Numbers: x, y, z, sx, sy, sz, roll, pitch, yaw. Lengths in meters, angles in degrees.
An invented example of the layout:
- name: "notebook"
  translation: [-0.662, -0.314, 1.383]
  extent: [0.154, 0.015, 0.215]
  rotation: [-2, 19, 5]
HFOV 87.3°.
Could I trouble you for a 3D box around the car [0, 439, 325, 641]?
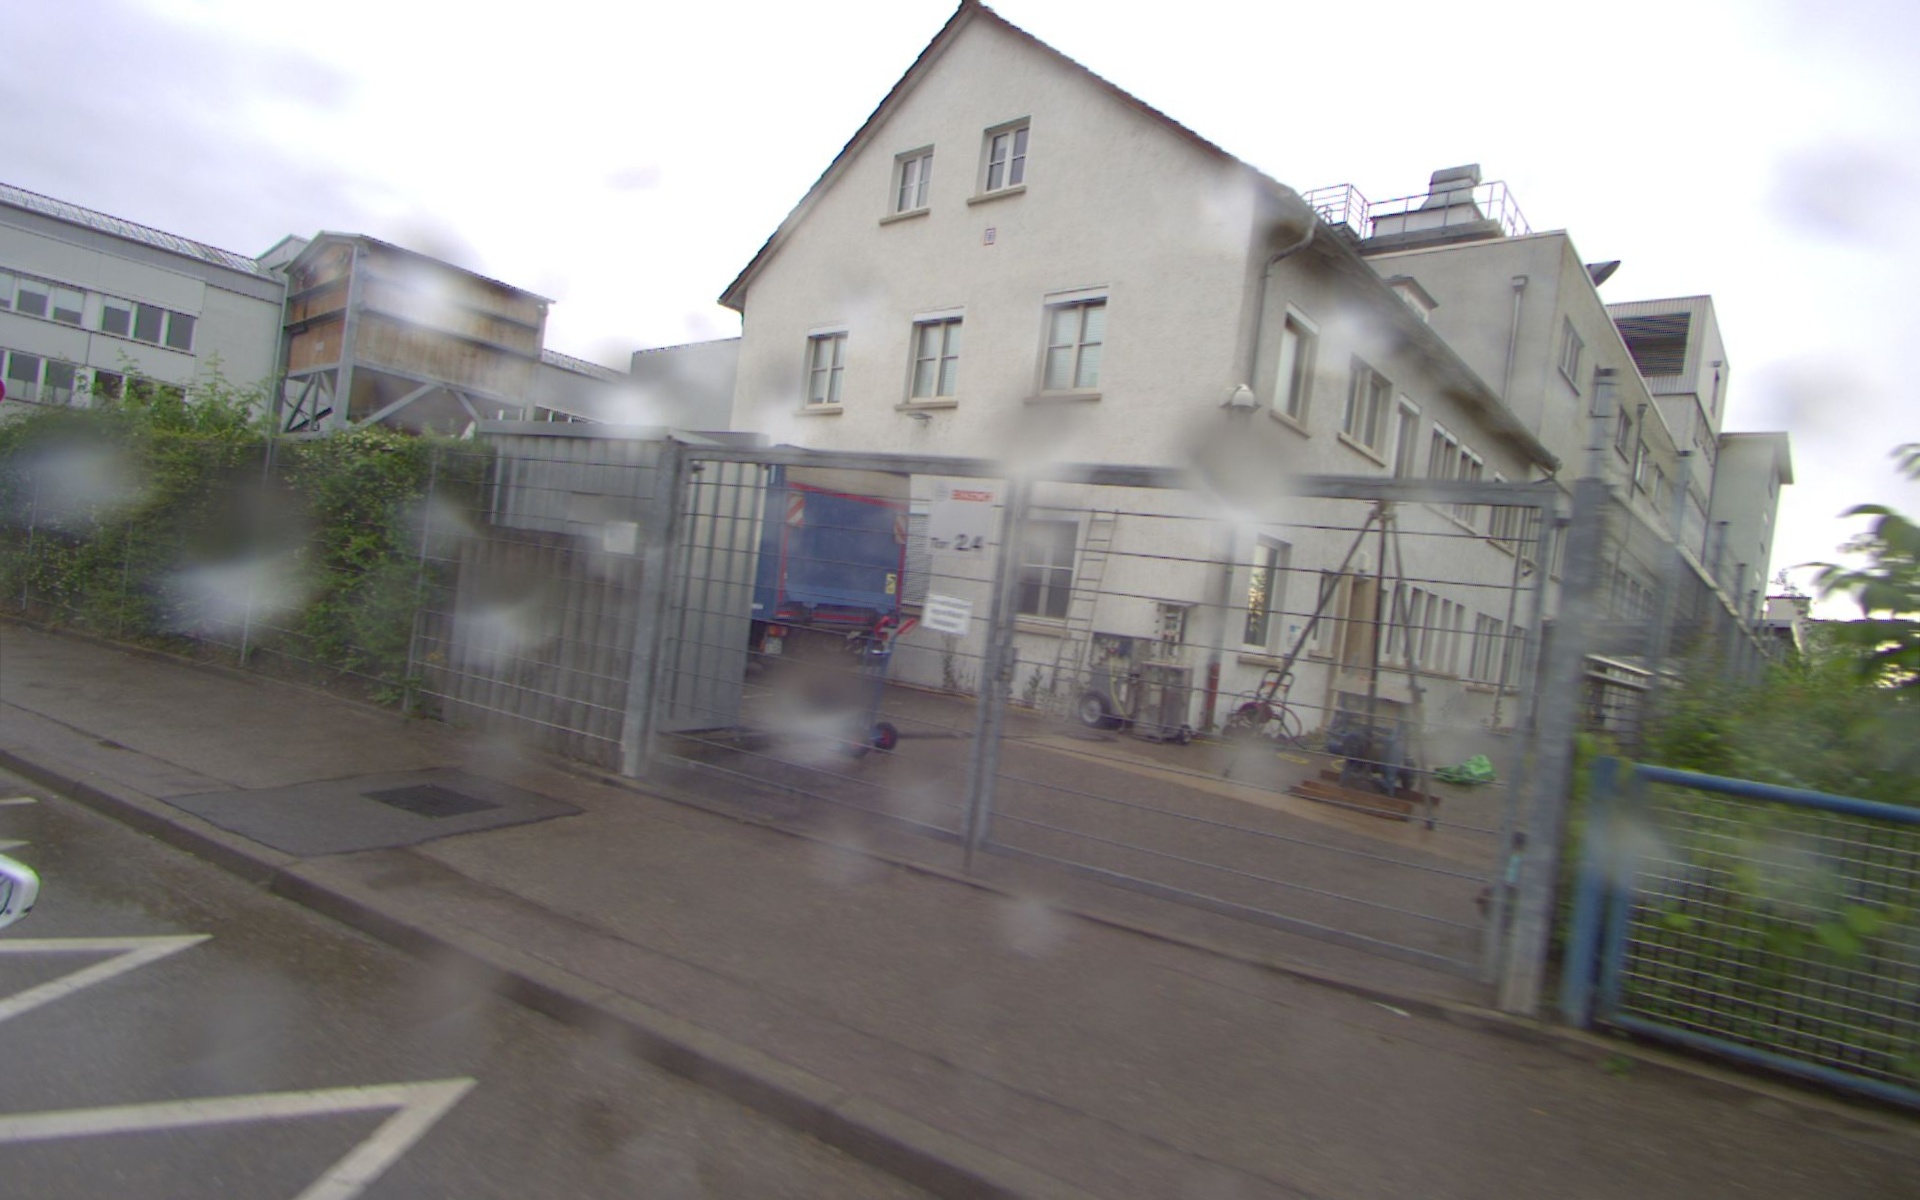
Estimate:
- name: "car"
  translation: [-13.950, -1.061, 17.264]
  extent: [5.843, 2.719, 1.998]
  rotation: [8, 2, 23]
